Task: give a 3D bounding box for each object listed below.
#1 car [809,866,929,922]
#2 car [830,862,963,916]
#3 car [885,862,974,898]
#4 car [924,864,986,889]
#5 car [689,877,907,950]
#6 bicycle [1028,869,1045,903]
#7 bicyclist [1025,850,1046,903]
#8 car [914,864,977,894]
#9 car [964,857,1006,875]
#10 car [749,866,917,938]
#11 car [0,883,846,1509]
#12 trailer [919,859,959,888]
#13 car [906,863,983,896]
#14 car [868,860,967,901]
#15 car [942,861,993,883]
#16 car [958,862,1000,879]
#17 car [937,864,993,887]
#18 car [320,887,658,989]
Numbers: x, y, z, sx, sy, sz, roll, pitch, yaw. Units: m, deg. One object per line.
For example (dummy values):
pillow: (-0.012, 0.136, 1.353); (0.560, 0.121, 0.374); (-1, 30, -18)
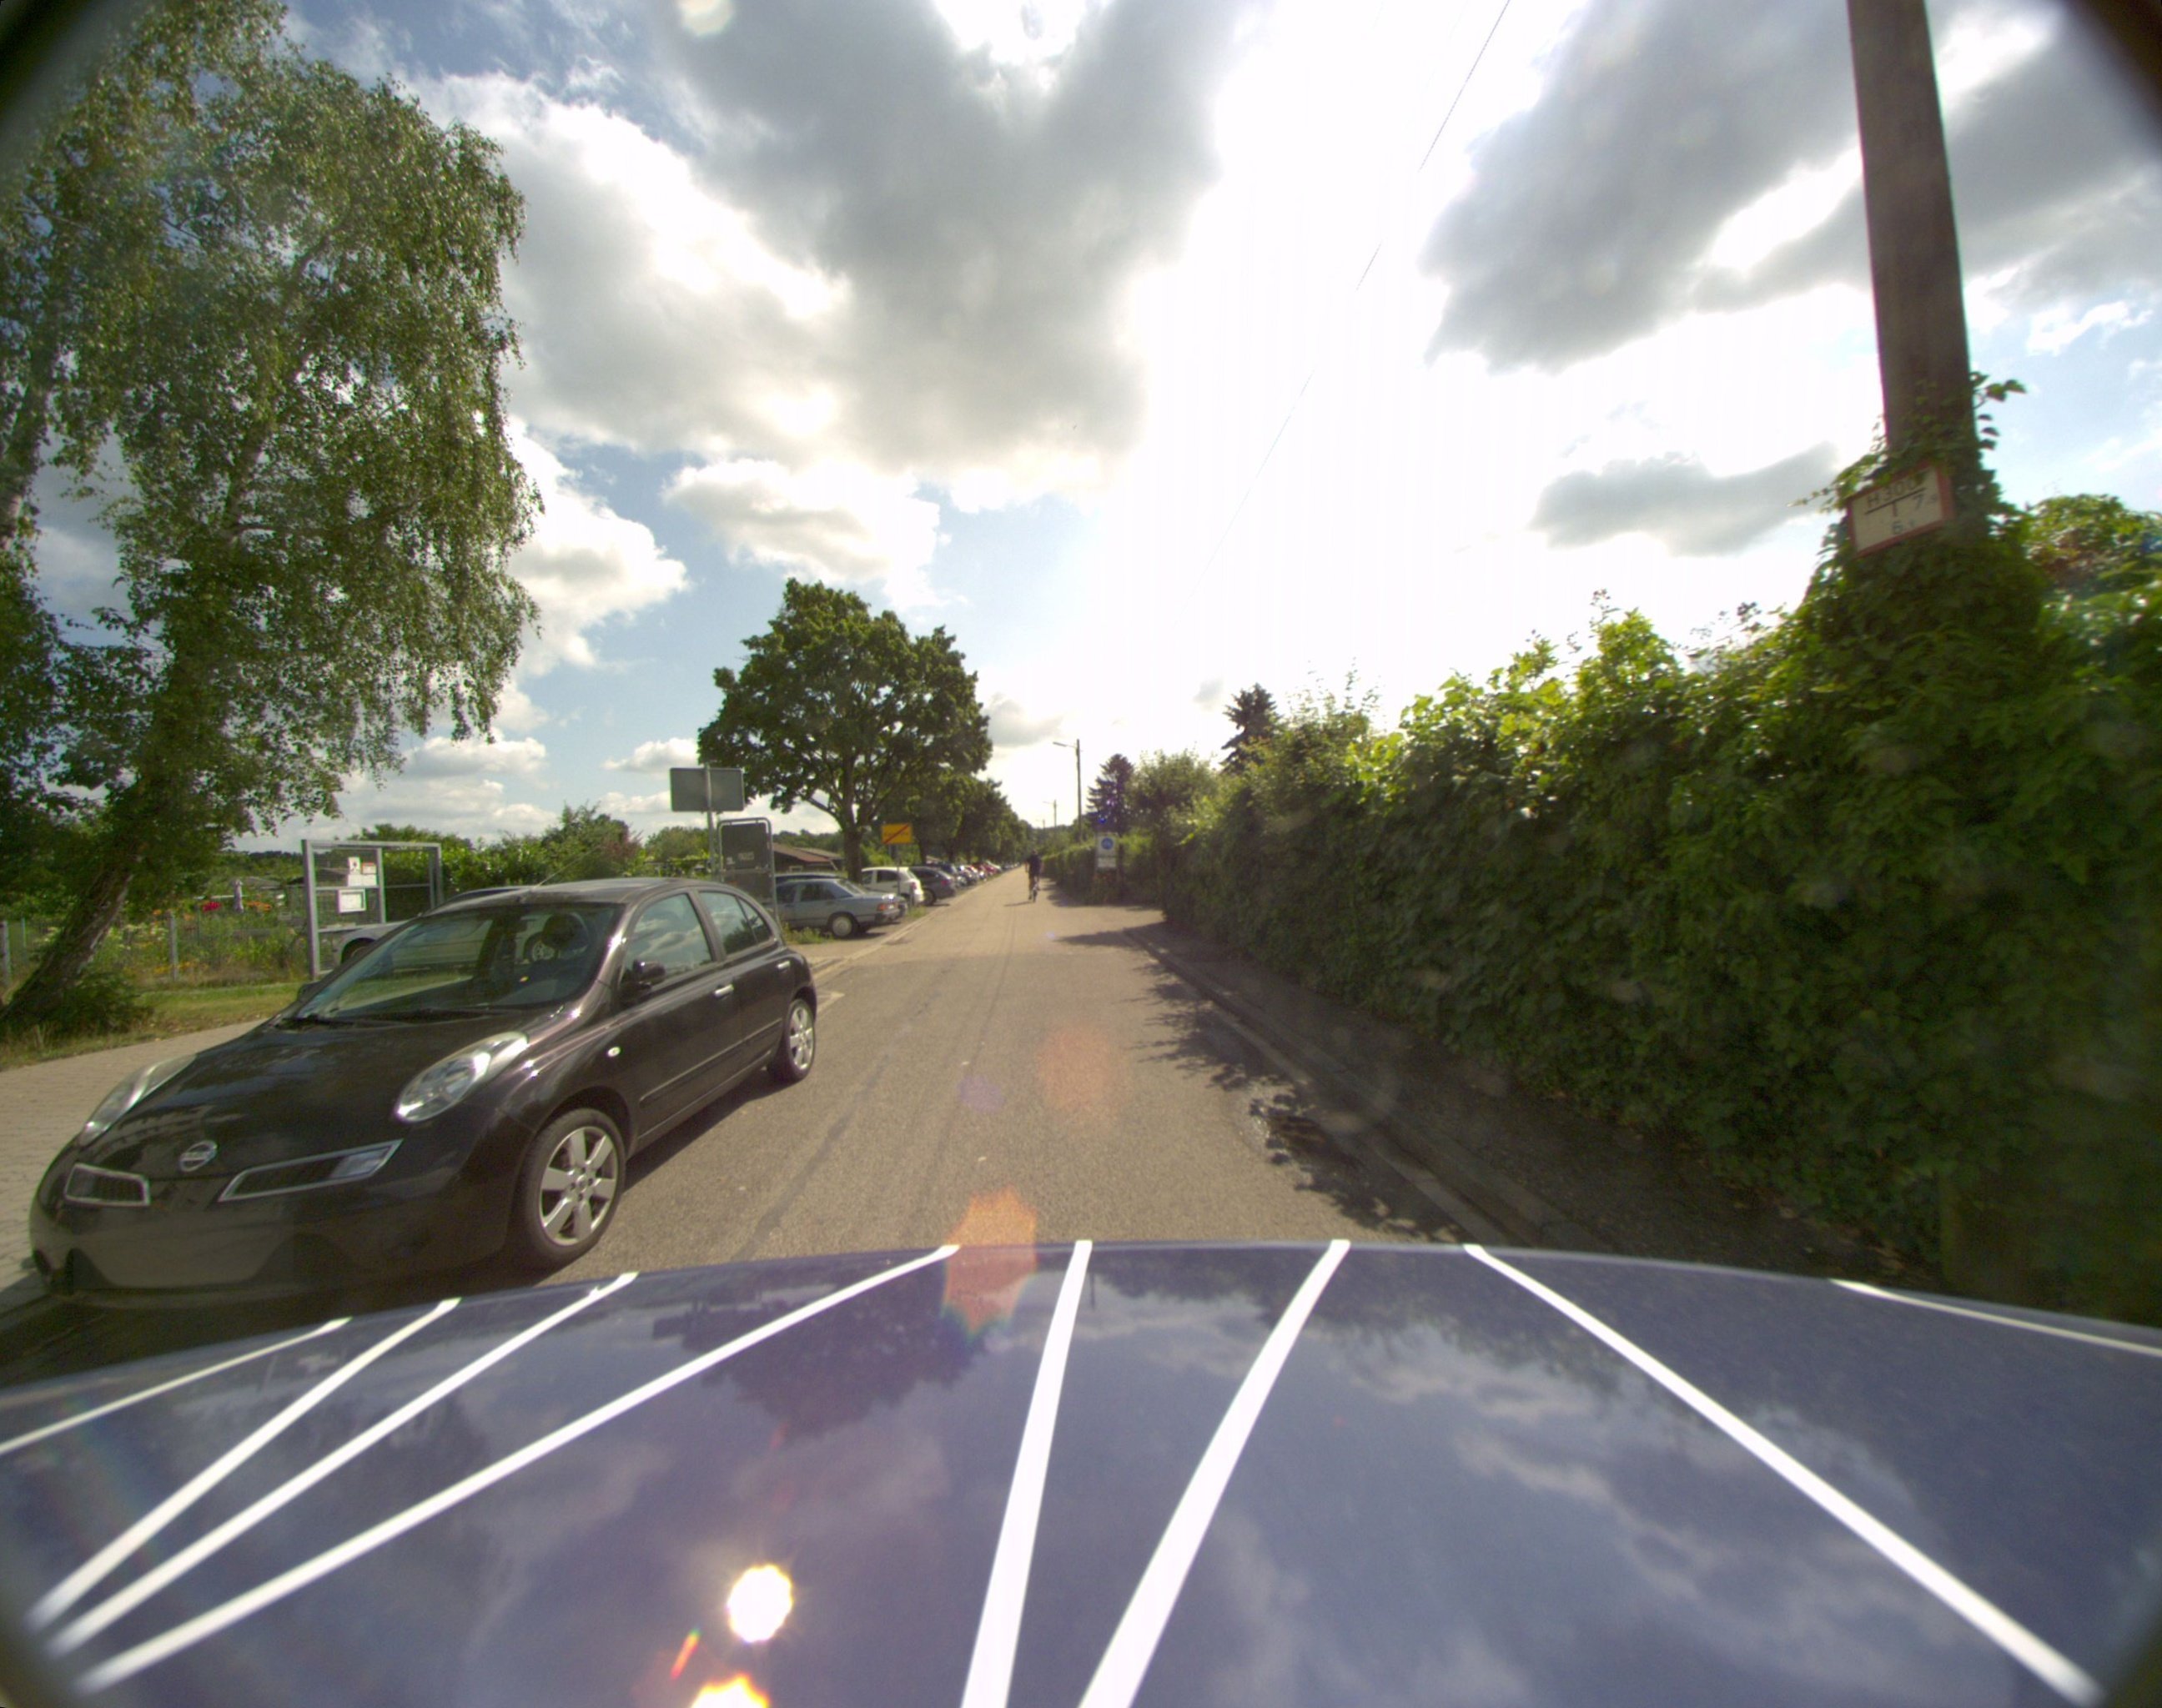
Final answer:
car: (-7.083, 1.304, 25.730); (3.584, 1.540, 1.666); (-4, 0, -7)
car: (-6.849, 1.278, 28.604); (4.563, 1.569, 1.807); (-4, 0, -7)
car: (-7.981, 1.356, 40.411); (4.348, 1.483, 1.975); (-4, 0, -4)
car: (-9.172, 1.633, 55.622); (4.075, 1.502, 1.957); (-4, 0, -1)
car: (-6.493, 1.361, 17.759); (4.369, 1.384, 1.718); (-2, 0, 0)
bicycle: (-1.577, 1.126, 27.091); (0.519, 1.143, 1.826); (-2, 0, -1)
bicyclist: (-1.632, 0.792, 27.204); (0.660, 1.841, 1.043); (-2, 0, -2)
car: (-8.613, 1.575, 48.534); (3.735, 1.531, 1.849); (-4, 0, -7)
car: (-11.091, 1.418, 88.246); (4.648, 1.875, 2.110); (-2, 0, -6)
car: (-6.686, 1.270, 20.856); (3.944, 1.550, 1.867); (-4, 0, -5)
car: (-2.806, 1.048, 4.093); (1.667, 1.497, 4.000); (-4, 0, 1)
trailer: (-9.582, 1.306, 51.359); (2.457, 1.710, 1.517); (-4, -1, -8)
car: (-8.178, 1.526, 45.914); (4.314, 1.584, 1.999); (-4, 0, -4)
car: (-7.557, 1.208, 35.343); (4.166, 1.628, 1.878); (-3, 0, -3)
car: (-9.786, 1.538, 65.767); (3.997, 1.511, 1.854); (-4, 0, 0)
car: (-10.784, 1.732, 80.600); (4.195, 1.495, 1.877); (-4, 0, -3)
car: (-8.983, 1.682, 59.110); (4.077, 1.447, 1.869); (-4, 0, -6)
car: (-9.879, 1.360, 12.989); (4.253, 1.422, 1.758); (-1, 0, -5)
